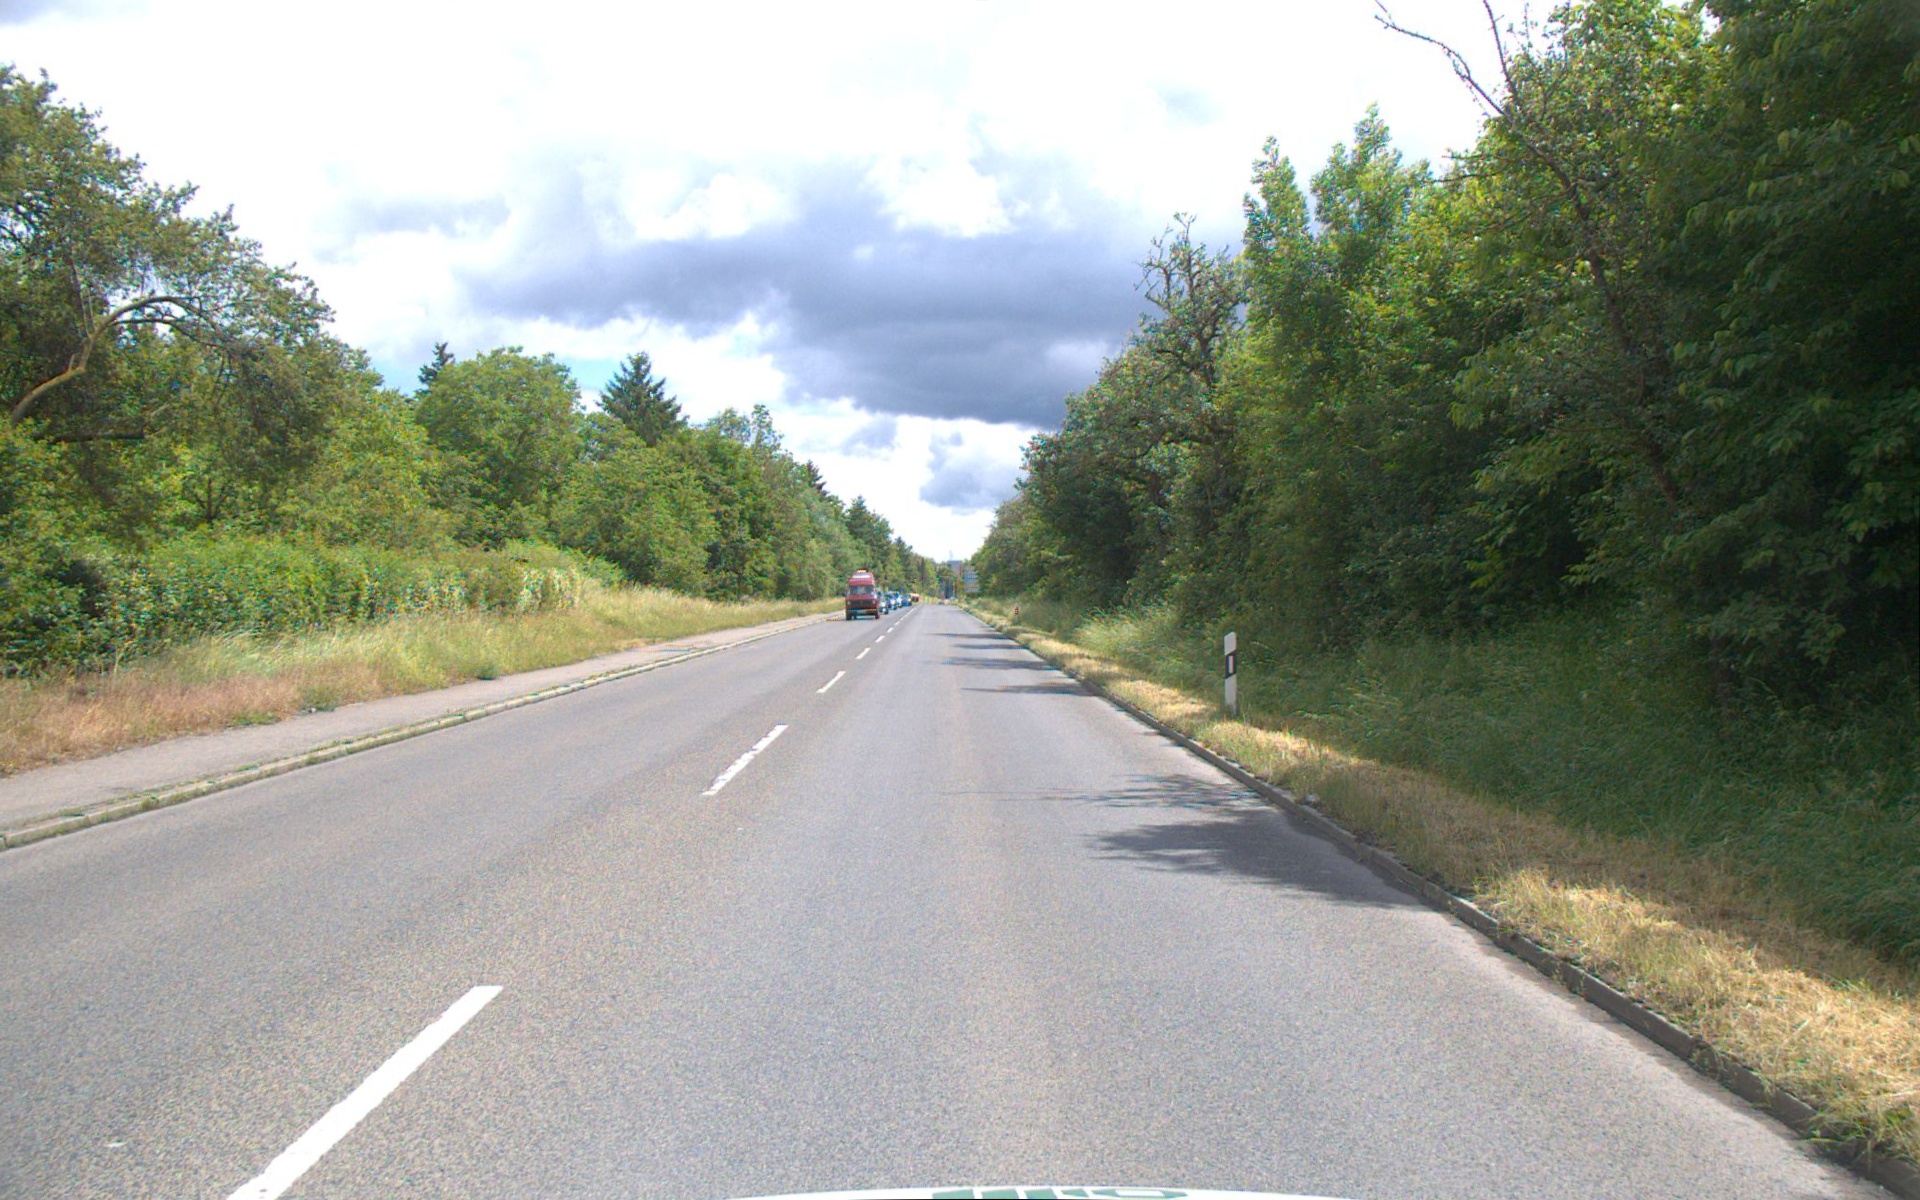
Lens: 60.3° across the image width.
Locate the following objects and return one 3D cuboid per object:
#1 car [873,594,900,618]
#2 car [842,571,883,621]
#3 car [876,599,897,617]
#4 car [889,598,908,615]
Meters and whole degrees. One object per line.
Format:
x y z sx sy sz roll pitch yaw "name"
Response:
-4.889 0.376 111.105 1.681 1.496 3.999 -3 0 -2 "car"
-5.277 -0.211 90.125 1.929 2.594 4.724 -3 0 -1 "car"
-6.272 0.697 141.604 1.748 1.472 4.451 -2 0 -2 "car"
-5.842 0.616 156.582 1.748 1.472 2.965 -2 0 -2 "car"
